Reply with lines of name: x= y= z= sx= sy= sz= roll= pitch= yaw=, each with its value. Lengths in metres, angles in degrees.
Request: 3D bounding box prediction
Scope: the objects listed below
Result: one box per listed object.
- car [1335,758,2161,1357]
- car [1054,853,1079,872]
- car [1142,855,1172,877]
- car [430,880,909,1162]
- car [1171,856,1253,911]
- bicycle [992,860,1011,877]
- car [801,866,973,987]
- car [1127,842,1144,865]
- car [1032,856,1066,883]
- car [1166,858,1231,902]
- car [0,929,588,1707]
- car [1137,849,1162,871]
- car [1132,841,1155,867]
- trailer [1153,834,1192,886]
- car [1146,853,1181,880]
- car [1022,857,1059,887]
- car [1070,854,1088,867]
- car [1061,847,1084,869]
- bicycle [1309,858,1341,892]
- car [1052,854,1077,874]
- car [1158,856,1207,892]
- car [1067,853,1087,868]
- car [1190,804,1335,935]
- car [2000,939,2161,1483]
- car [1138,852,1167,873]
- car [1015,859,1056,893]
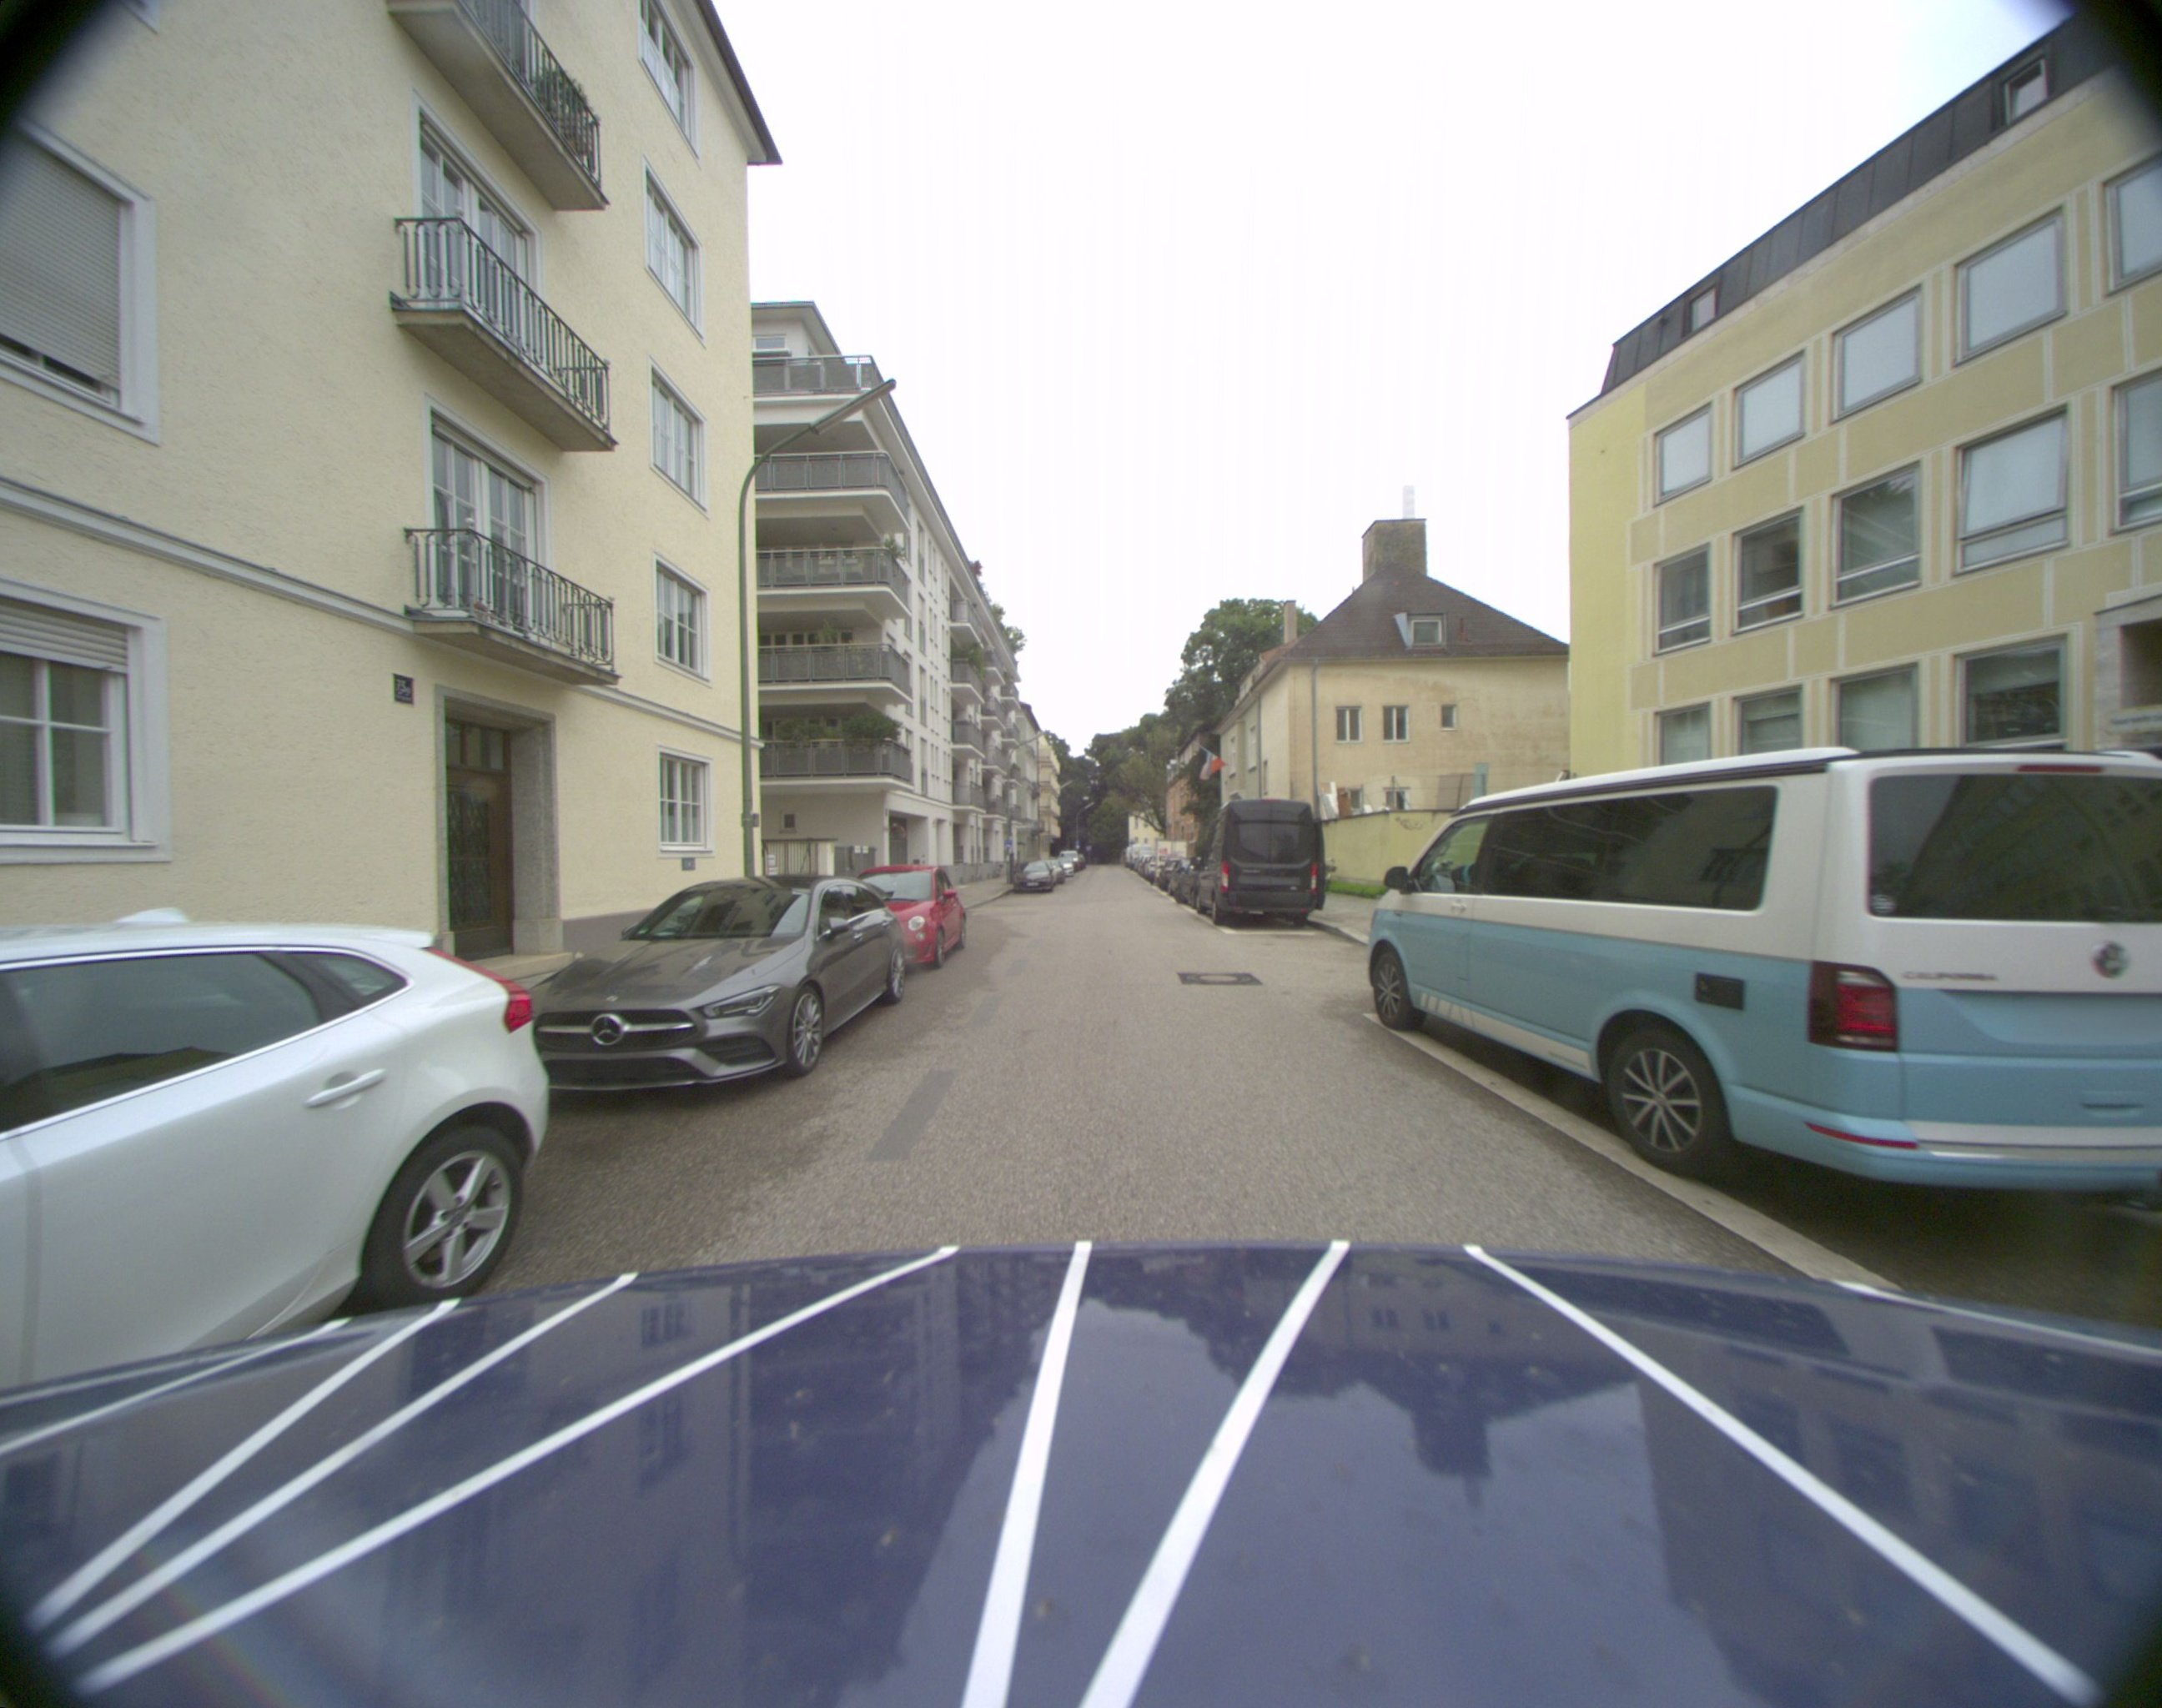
car: x=3.559 y=0.663 z=5.026 sx=1.933 sy=1.967 sz=5.021 roll=0 pitch=0 yaw=-2
car: x=-1.188 y=0.699 z=63.430 sx=1.765 sy=1.448 sz=3.748 roll=-1 pitch=0 yaw=4
car: x=5.003 y=0.774 z=50.430 sx=1.817 sy=1.339 sz=3.746 roll=-1 pitch=0 yaw=3
car: x=-2.842 y=1.029 z=6.540 sx=1.683 sy=1.402 sz=4.421 roll=-1 pitch=0 yaw=0
car: x=3.919 y=0.846 z=23.289 sx=1.706 sy=1.485 sz=3.488 roll=-1 pitch=0 yaw=-4
bicycle: x=-5.176 y=0.919 z=49.451 sx=0.580 sy=1.008 sz=1.955 roll=-2 pitch=1 yaw=14
car: x=-2.834 y=0.990 z=11.950 sx=1.683 sy=1.489 sz=3.823 roll=-1 pitch=0 yaw=0
car: x=6.356 y=-0.091 z=89.031 sx=1.880 sy=2.539 sz=4.370 roll=-1 pitch=1 yaw=3
car: x=-1.874 y=0.875 z=45.075 sx=1.766 sy=1.448 sz=3.747 roll=-1 pitch=0 yaw=1
car: x=4.223 y=0.900 z=27.906 sx=1.697 sy=1.417 sz=4.069 roll=0 pitch=0 yaw=-1
car: x=-3.056 y=1.062 z=1.153 sx=1.683 sy=1.402 sz=4.442 roll=-1 pitch=0 yaw=0
car: x=5.554 y=0.446 z=62.292 sx=1.817 sy=1.723 sz=3.650 roll=-1 pitch=0 yaw=2
car: x=5.962 y=-0.005 z=72.697 sx=2.104 sy=2.418 sz=4.550 roll=-1 pitch=0 yaw=3
trailer: x=4.791 y=0.287 z=39.813 sx=1.817 sy=2.521 sz=3.390 roll=3 pitch=1 yaw=6
car: x=4.872 y=0.725 z=45.176 sx=1.767 sy=1.505 sz=3.842 roll=0 pitch=0 yaw=2
car: x=-2.130 y=0.931 z=40.672 sx=1.766 sy=1.448 sz=3.418 roll=-1 pitch=0 yaw=1
car: x=-0.158 y=0.756 z=87.811 sx=1.871 sy=1.455 sz=4.268 roll=-1 pitch=0 yaw=2
car: x=-0.757 y=0.363 z=72.032 sx=1.871 sy=2.002 sz=4.268 roll=-1 pitch=0 yaw=2
bicycle: x=8.667 y=0.736 z=27.039 sx=0.580 sy=1.125 sz=1.743 roll=-1 pitch=1 yaw=0
car: x=-1.189 y=0.720 z=56.872 sx=1.766 sy=1.448 sz=3.747 roll=-1 pitch=0 yaw=1
car: x=4.489 y=0.838 z=34.198 sx=1.817 sy=1.491 sz=4.644 roll=0 pitch=0 yaw=3
car: x=-0.400 y=0.643 z=77.662 sx=1.871 sy=1.455 sz=4.268 roll=-1 pitch=0 yaw=2
car: x=4.064 y=0.313 z=18.154 sx=2.302 sy=2.630 sz=5.654 roll=0 pitch=0 yaw=2
car: x=3.669 y=0.941 z=0.360 sx=1.748 sy=1.379 sz=3.918 roll=-2 pitch=0 yaw=1
car: x=5.284 y=0.605 z=56.415 sx=1.818 sy=1.444 sz=3.928 roll=-1 pitch=0 yaw=1
car: x=-2.087 y=0.990 z=35.626 sx=1.784 sy=1.385 sz=4.245 roll=-1 pitch=0 yaw=-2
